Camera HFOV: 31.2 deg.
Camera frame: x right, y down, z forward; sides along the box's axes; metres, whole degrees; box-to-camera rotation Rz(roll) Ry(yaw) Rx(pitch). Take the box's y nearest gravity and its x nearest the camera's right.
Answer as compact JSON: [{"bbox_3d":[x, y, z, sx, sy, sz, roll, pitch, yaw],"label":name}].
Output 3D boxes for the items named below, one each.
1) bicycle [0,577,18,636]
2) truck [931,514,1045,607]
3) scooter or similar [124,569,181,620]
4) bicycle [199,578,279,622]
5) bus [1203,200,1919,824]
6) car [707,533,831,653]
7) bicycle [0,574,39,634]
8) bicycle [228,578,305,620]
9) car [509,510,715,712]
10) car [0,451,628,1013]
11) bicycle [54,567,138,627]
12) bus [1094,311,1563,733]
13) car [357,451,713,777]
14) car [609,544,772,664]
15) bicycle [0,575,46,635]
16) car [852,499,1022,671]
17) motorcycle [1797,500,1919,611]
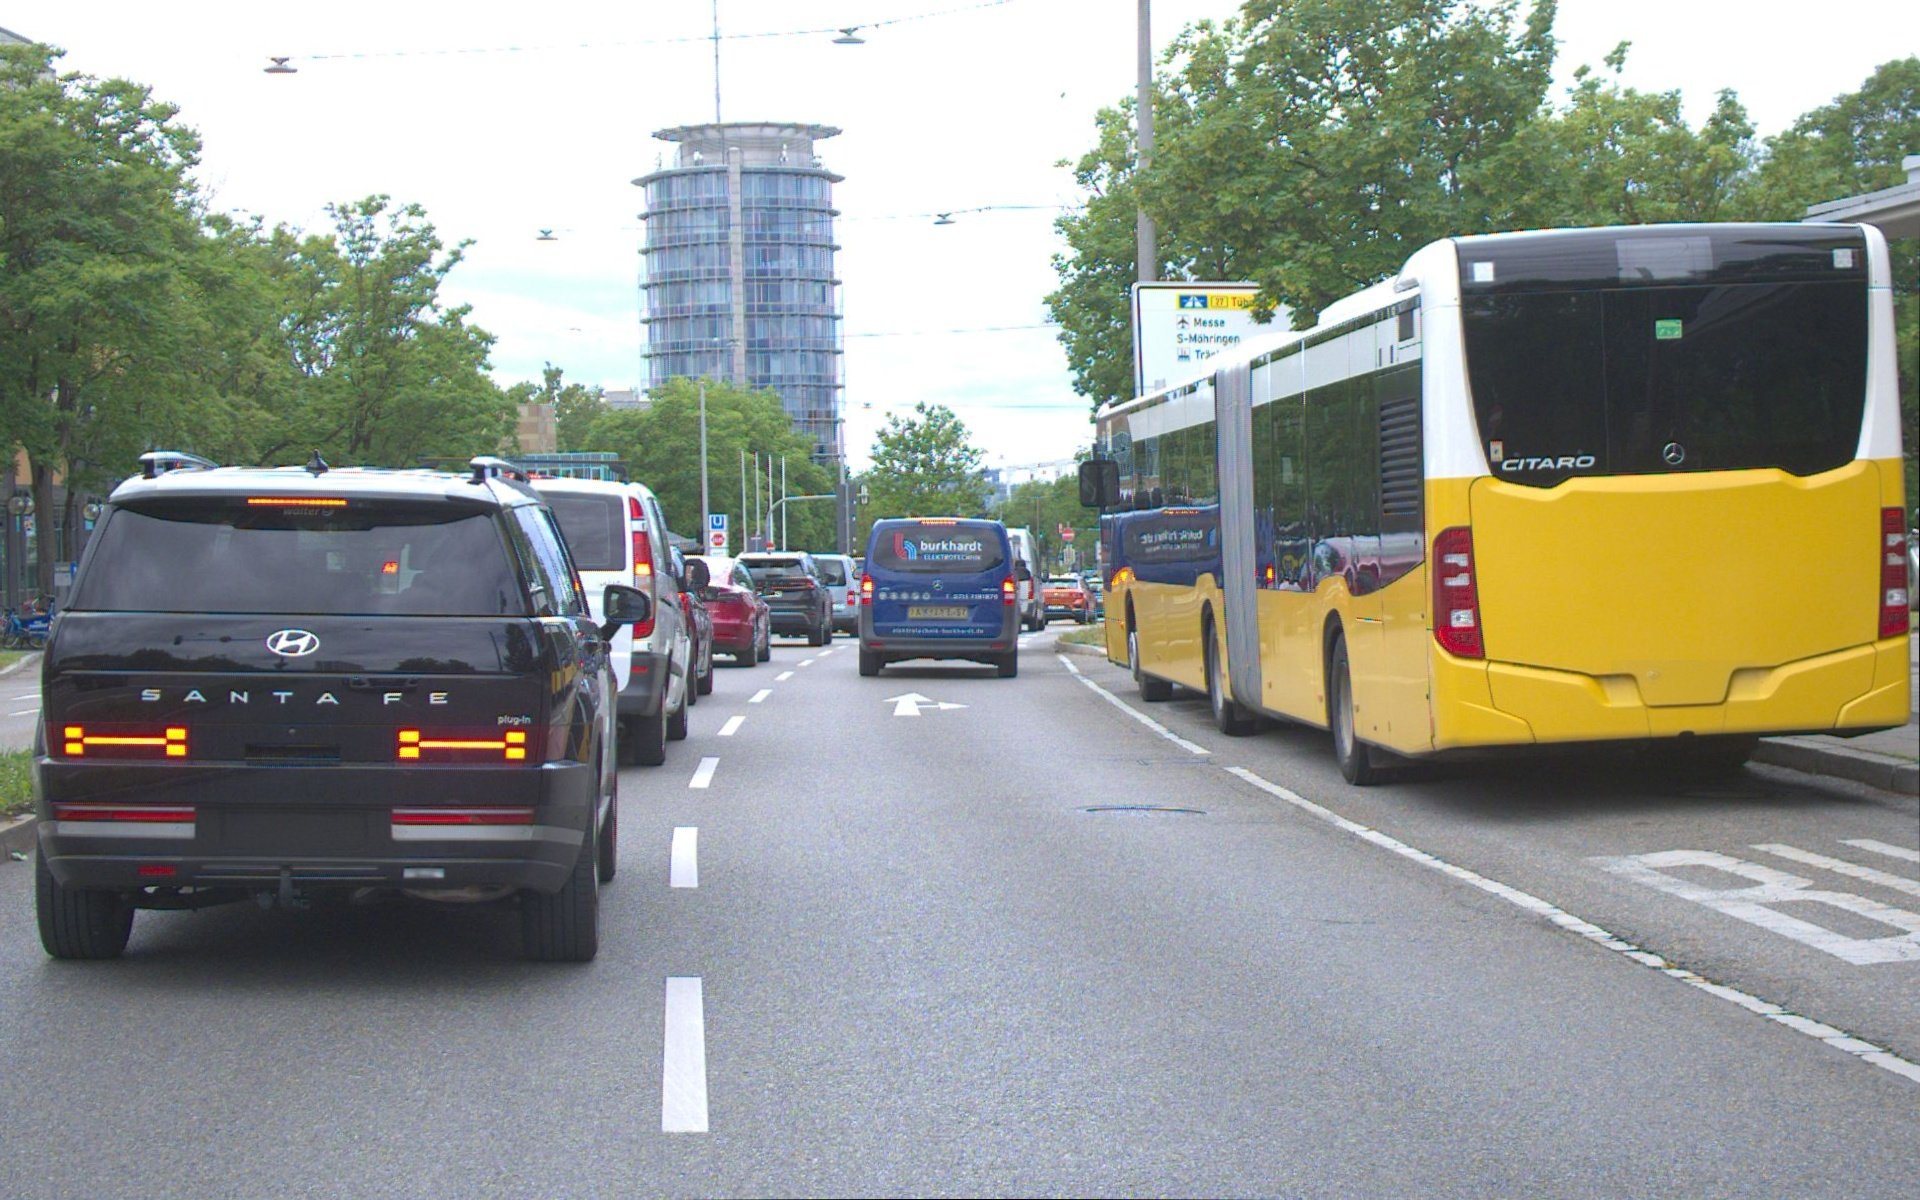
[{"bbox_3d":[-21.052,0.154,73.500,0.626,1.249,1.680,-1,0,41],"label":"bicycle"},{"bbox_3d":[0.720,-0.953,83.530,1.994,2.158,5.557,1,1,8],"label":"truck"},{"bbox_3d":[-19.925,-0.139,84.802,1.321,1.265,0.339,0,0,1],"label":"scooter or similar"},{"bbox_3d":[-19.642,-0.009,93.664,2.064,1.149,0.712,1,0,-7],"label":"bicycle"},{"bbox_3d":[3.480,-0.553,21.918,2.712,3.098,8.871,-2,1,-3],"label":"bus"},{"bbox_3d":[-3.303,-0.153,60.077,1.993,2.007,4.000,0,1,-1],"label":"car"},{"bbox_3d":[-20.430,0.085,73.317,0.432,1.249,1.467,-1,1,43],"label":"bicycle"},{"bbox_3d":[-19.312,-0.031,95.797,2.064,1.149,0.712,0,0,-7],"label":"bicycle"},{"bbox_3d":[-3.356,0.113,33.369,1.746,1.718,4.000,-4,0,-5],"label":"car"},{"bbox_3d":[-2.284,0.363,13.118,1.922,1.745,4.679,1,1,-5],"label":"car"},{"bbox_3d":[-18.615,-0.068,74.092,0.626,1.249,1.680,-1,0,41],"label":"bicycle"},{"bbox_3d":[3.005,-0.704,30.878,2.712,3.153,9.129,-2,1,-3],"label":"bus"},{"bbox_3d":[-2.864,0.028,24.237,1.873,2.007,5.076,-2,1,-1],"label":"car"},{"bbox_3d":[-3.516,0.065,45.446,1.868,1.481,4.000,-1,0,-1],"label":"car"},{"bbox_3d":[-20.143,0.111,72.331,0.626,1.249,1.680,-1,1,42],"label":"bicycle"},{"bbox_3d":[-0.291,-0.185,41.822,1.948,1.959,4.541,0,0,-1],"label":"car"},{"bbox_3d":[10.277,-0.499,38.873,0.582,1.217,1.581,-2,1,-34],"label":"motorcycle"}]
